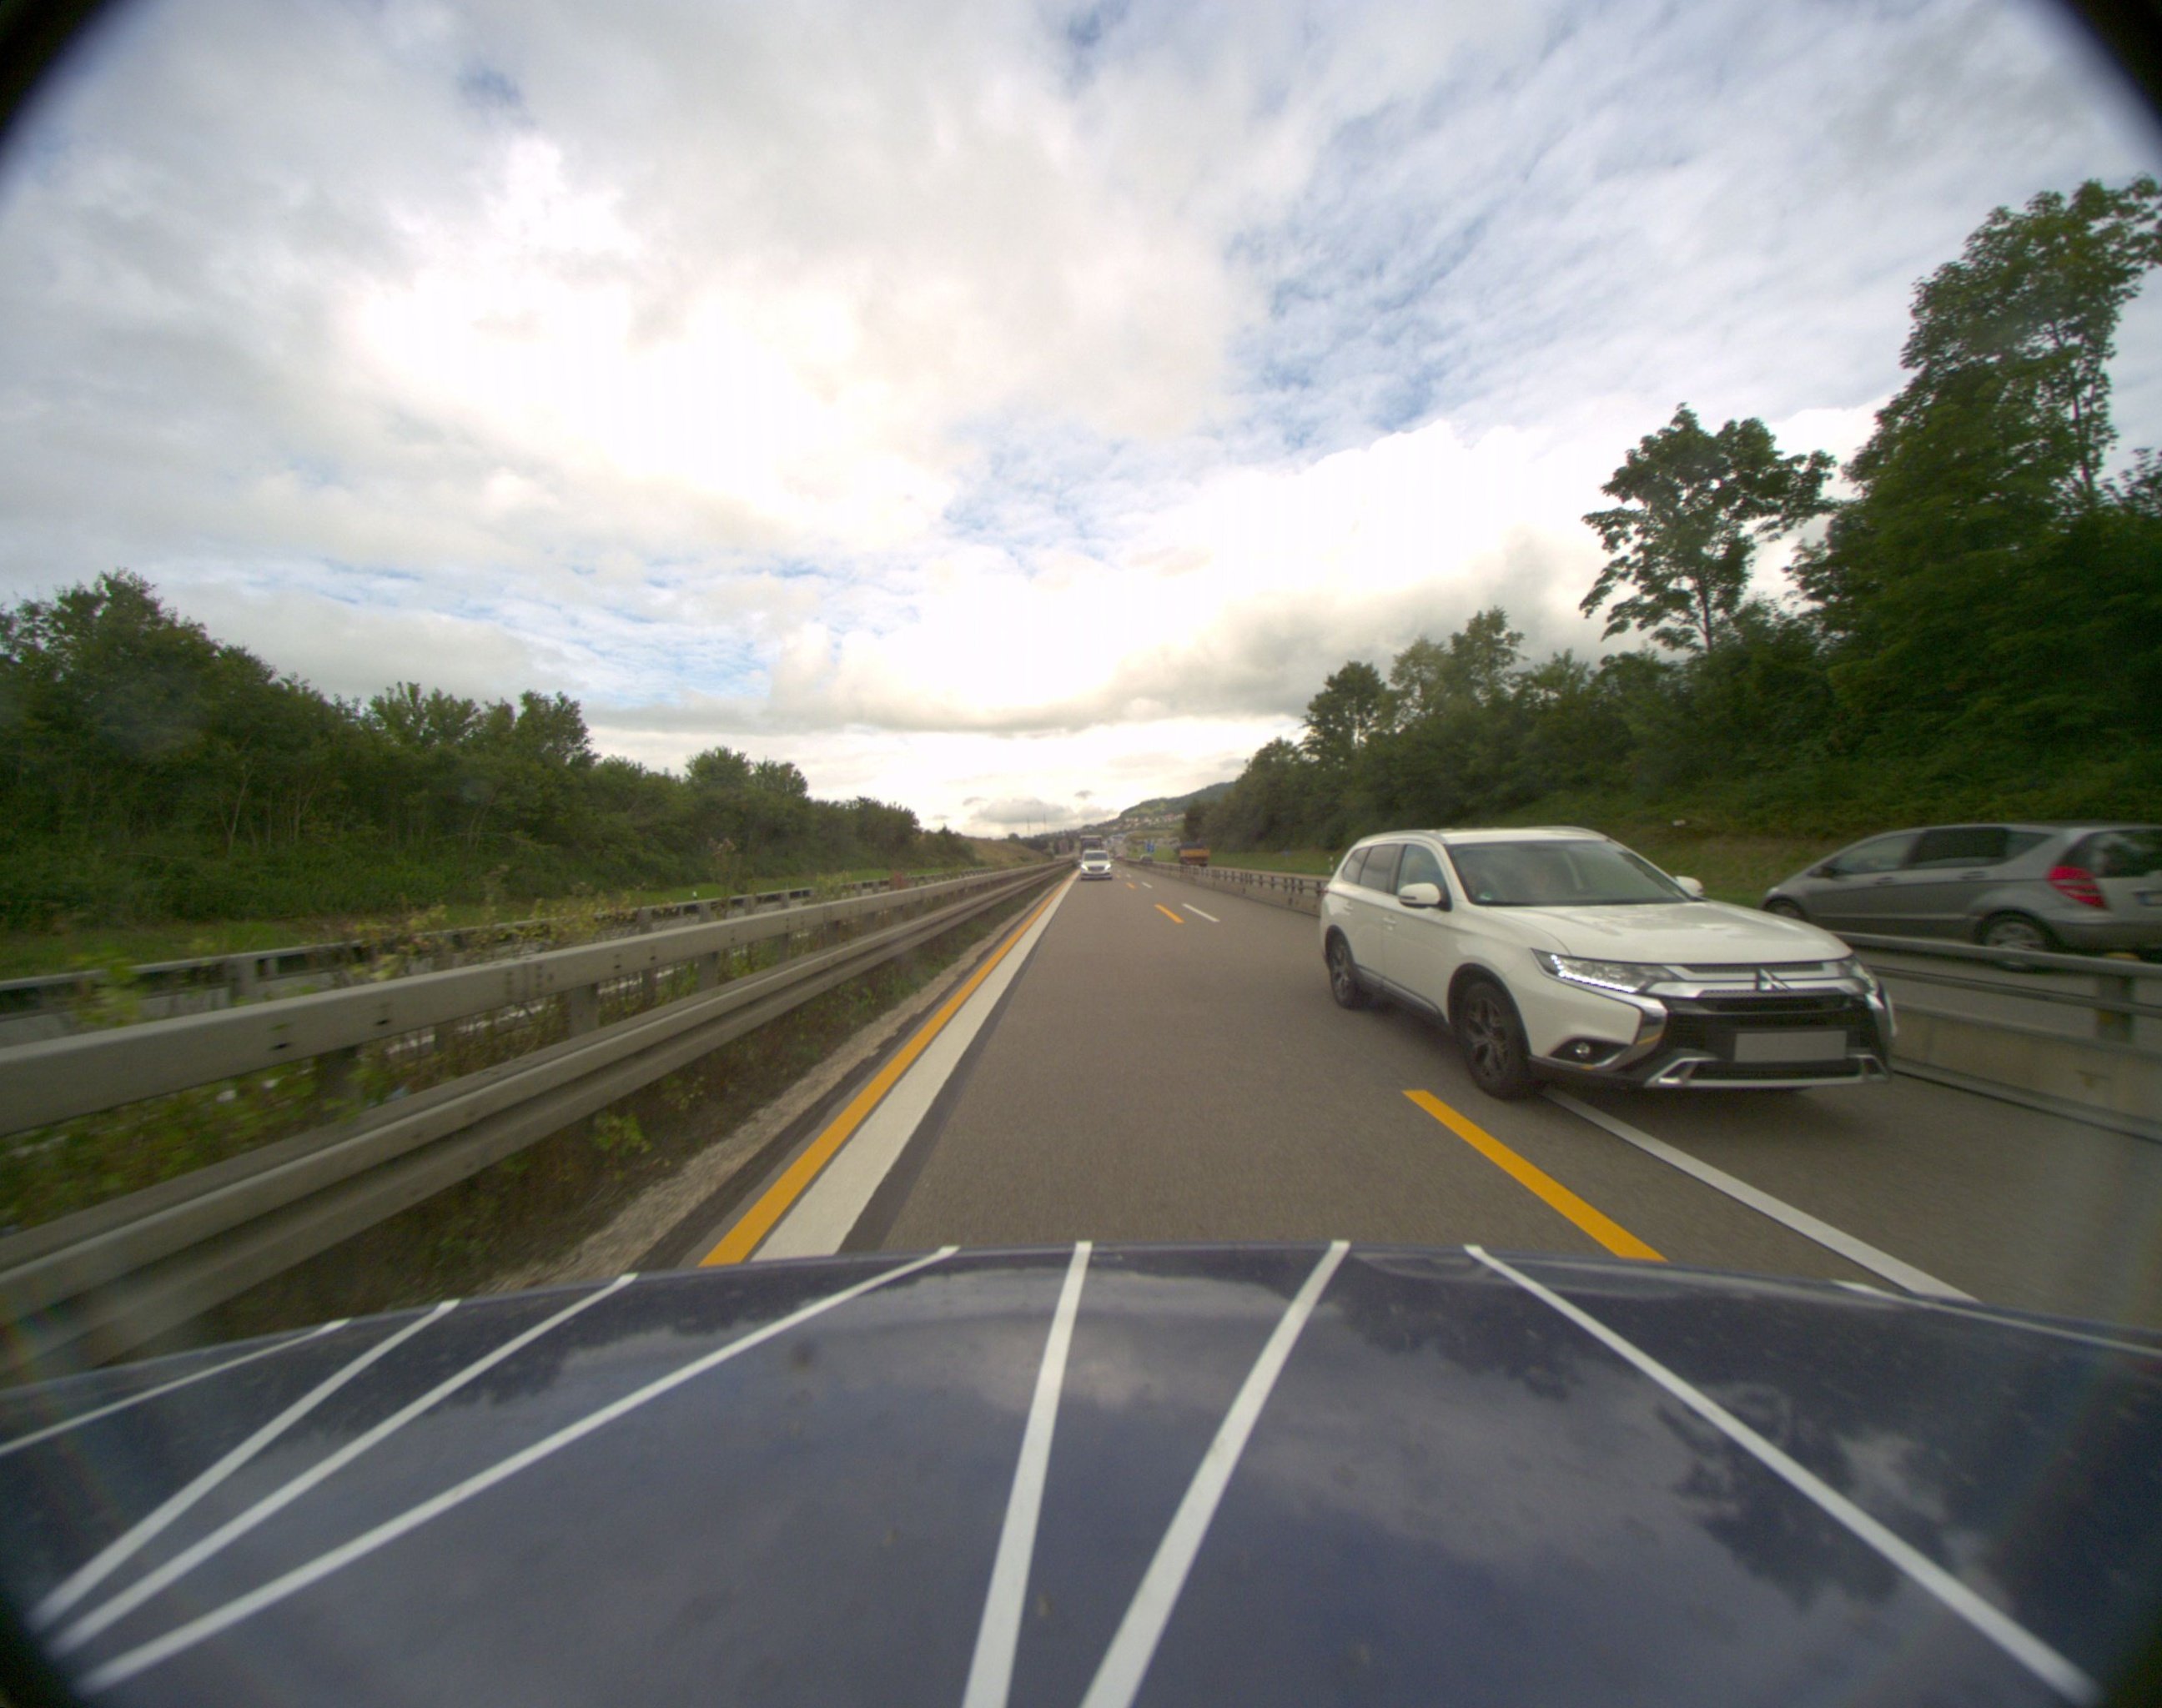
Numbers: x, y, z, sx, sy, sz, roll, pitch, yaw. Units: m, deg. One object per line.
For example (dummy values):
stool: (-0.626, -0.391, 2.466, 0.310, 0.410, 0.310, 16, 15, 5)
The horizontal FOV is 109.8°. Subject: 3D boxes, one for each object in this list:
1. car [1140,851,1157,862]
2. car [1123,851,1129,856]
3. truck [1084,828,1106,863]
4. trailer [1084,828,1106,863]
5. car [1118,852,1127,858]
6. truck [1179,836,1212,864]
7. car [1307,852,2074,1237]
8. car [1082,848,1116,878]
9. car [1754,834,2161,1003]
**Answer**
car: (9.557, 0.324, 107.827, 1.998, 1.498, 4.832, -2, 0, 1)
car: (15.312, -0.139, 258.019, 1.672, 1.431, 3.787, -2, 0, 1)
truck: (1.726, -1.002, 92.109, 2.521, 4.081, 5.685, -2, 1, 1)
trailer: (1.864, -1.034, 97.291, 2.521, 4.081, 11.113, -2, 0, 2)
car: (10.105, 0.251, 184.815, 1.939, 1.482, 4.589, -3, 0, 1)
truck: (11.815, -0.369, 78.860, 2.496, 2.702, 6.667, -2, 0, 1)
car: (3.278, 0.818, 5.549, 1.998, 1.618, 4.607, -1, 0, 2)
car: (1.144, 0.526, 47.778, 1.990, 1.787, 4.586, -2, 0, 1)
car: (10.460, 0.572, 8.904, 1.685, 1.541, 3.950, -1, 0, 1)
